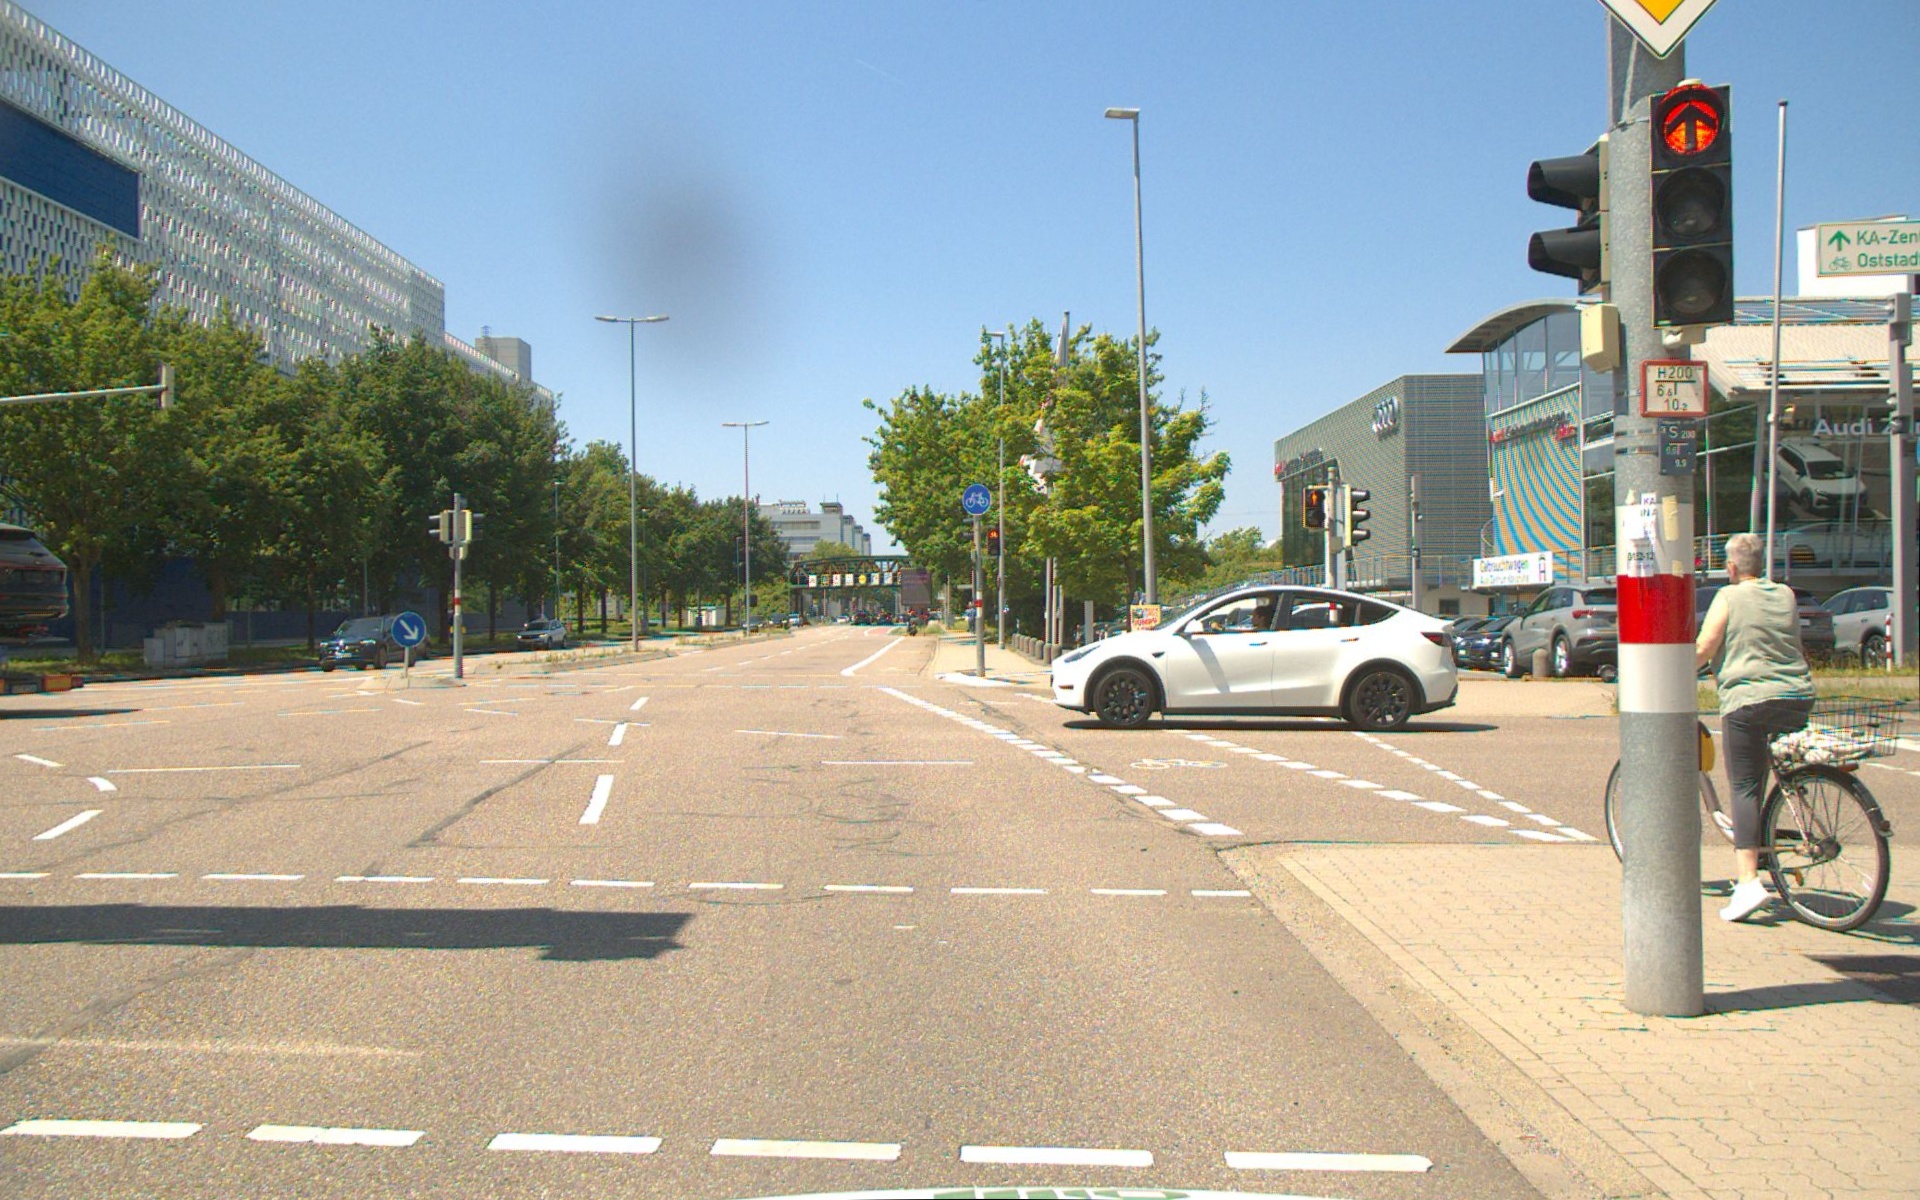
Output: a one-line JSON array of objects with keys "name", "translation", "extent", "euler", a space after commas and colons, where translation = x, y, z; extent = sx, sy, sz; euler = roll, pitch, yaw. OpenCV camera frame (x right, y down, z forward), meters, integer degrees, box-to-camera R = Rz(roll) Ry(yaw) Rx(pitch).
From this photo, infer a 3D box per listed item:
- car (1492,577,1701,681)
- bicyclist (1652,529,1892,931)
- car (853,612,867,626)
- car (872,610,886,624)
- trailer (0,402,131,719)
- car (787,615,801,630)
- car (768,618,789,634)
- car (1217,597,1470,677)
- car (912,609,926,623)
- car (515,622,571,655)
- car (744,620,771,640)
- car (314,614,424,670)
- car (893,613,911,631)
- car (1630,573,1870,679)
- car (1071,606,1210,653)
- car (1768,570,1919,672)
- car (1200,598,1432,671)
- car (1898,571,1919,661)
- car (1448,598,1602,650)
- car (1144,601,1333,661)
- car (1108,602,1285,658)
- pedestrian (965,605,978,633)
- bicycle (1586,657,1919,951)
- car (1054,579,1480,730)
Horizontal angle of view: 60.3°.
[{"name": "car", "translation": [11.050, 0.456, 29.055], "extent": [1.953, 1.668, 4.267], "euler": [-1, 0, -1]}, {"name": "bicyclist", "translation": [3.775, 0.577, 7.740], "extent": [0.719, 1.779, 0.753], "euler": [0, 0, -5]}, {"name": "car", "translation": [-13.522, 2.594, 224.213], "extent": [1.736, 1.758, 3.999], "euler": [-1, -1, -1]}, {"name": "car", "translation": [-10.779, 2.263, 220.017], "extent": [1.736, 1.758, 3.999], "euler": [-1, -1, -1]}, {"name": "trailer", "translation": [-17.109, -0.460, 23.390], "extent": [9.408, 4.153, 3.097], "euler": [-1, 0, 6]}, {"name": "car", "translation": [-19.356, 2.657, 192.855], "extent": [1.617, 1.682, 4.159], "euler": [-1, 0, -5]}, {"name": "car", "translation": [-17.096, 2.413, 155.734], "extent": [1.650, 1.436, 3.664], "euler": [-1, -1, -1]}, {"name": "car", "translation": [7.651, 0.719, 33.313], "extent": [4.643, 1.482, 2.000], "euler": [-1, 0, 1]}, {"name": "car", "translation": [-5.427, 2.162, 220.704], "extent": [1.736, 1.758, 3.999], "euler": [-1, -1, -1]}, {"name": "car", "translation": [-22.626, 2.058, 89.912], "extent": [1.886, 1.694, 4.089], "euler": [-1, -1, 2]}, {"name": "car", "translation": [-16.235, 2.404, 132.927], "extent": [1.697, 1.452, 3.705], "euler": [-3, -1, -1]}, {"name": "car", "translation": [-18.367, 1.295, 51.618], "extent": [1.837, 1.626, 4.495], "euler": [-1, -1, -1]}, {"name": "car", "translation": [-3.698, 1.386, 105.331], "extent": [1.114, 1.060, 2.308], "euler": [-1, 0, -1]}, {"name": "car", "translation": [13.718, 0.412, 29.063], "extent": [1.953, 1.668, 4.557], "euler": [-1, 0, -1]}, {"name": "car", "translation": [6.379, 1.024, 58.934], "extent": [4.646, 1.482, 1.999], "euler": [-2, 0, -3]}, {"name": "car", "translation": [16.474, 0.315, 29.428], "extent": [1.953, 1.668, 4.440], "euler": [-1, 0, -1]}, {"name": "car", "translation": [7.683, 0.753, 36.023], "extent": [4.643, 1.482, 2.000], "euler": [-1, -1, 1]}, {"name": "car", "translation": [18.841, 0.285, 29.270], "extent": [1.847, 1.668, 4.524], "euler": [-1, 0, -1]}, {"name": "car", "translation": [16.856, 0.700, 49.452], "extent": [4.008, 1.486, 1.719], "euler": [-1, 0, 0]}, {"name": "car", "translation": [7.350, 0.811, 43.918], "extent": [4.646, 1.482, 1.999], "euler": [-1, 0, -3]}, {"name": "car", "translation": [6.615, 0.827, 46.631], "extent": [4.646, 1.482, 1.999], "euler": [-1, 0, -3]}, {"name": "pedestrian", "translation": [0.632, 1.034, 90.659], "extent": [0.654, 1.537, 0.736], "euler": [-1, -1, -1]}, {"name": "bicycle", "translation": [3.791, 0.886, 7.880], "extent": [0.771, 1.147, 1.919], "euler": [0, 0, -4]}, {"name": "car", "translation": [3.414, 0.613, 19.051], "extent": [4.581, 1.616, 2.001], "euler": [0, -1, 5]}]
